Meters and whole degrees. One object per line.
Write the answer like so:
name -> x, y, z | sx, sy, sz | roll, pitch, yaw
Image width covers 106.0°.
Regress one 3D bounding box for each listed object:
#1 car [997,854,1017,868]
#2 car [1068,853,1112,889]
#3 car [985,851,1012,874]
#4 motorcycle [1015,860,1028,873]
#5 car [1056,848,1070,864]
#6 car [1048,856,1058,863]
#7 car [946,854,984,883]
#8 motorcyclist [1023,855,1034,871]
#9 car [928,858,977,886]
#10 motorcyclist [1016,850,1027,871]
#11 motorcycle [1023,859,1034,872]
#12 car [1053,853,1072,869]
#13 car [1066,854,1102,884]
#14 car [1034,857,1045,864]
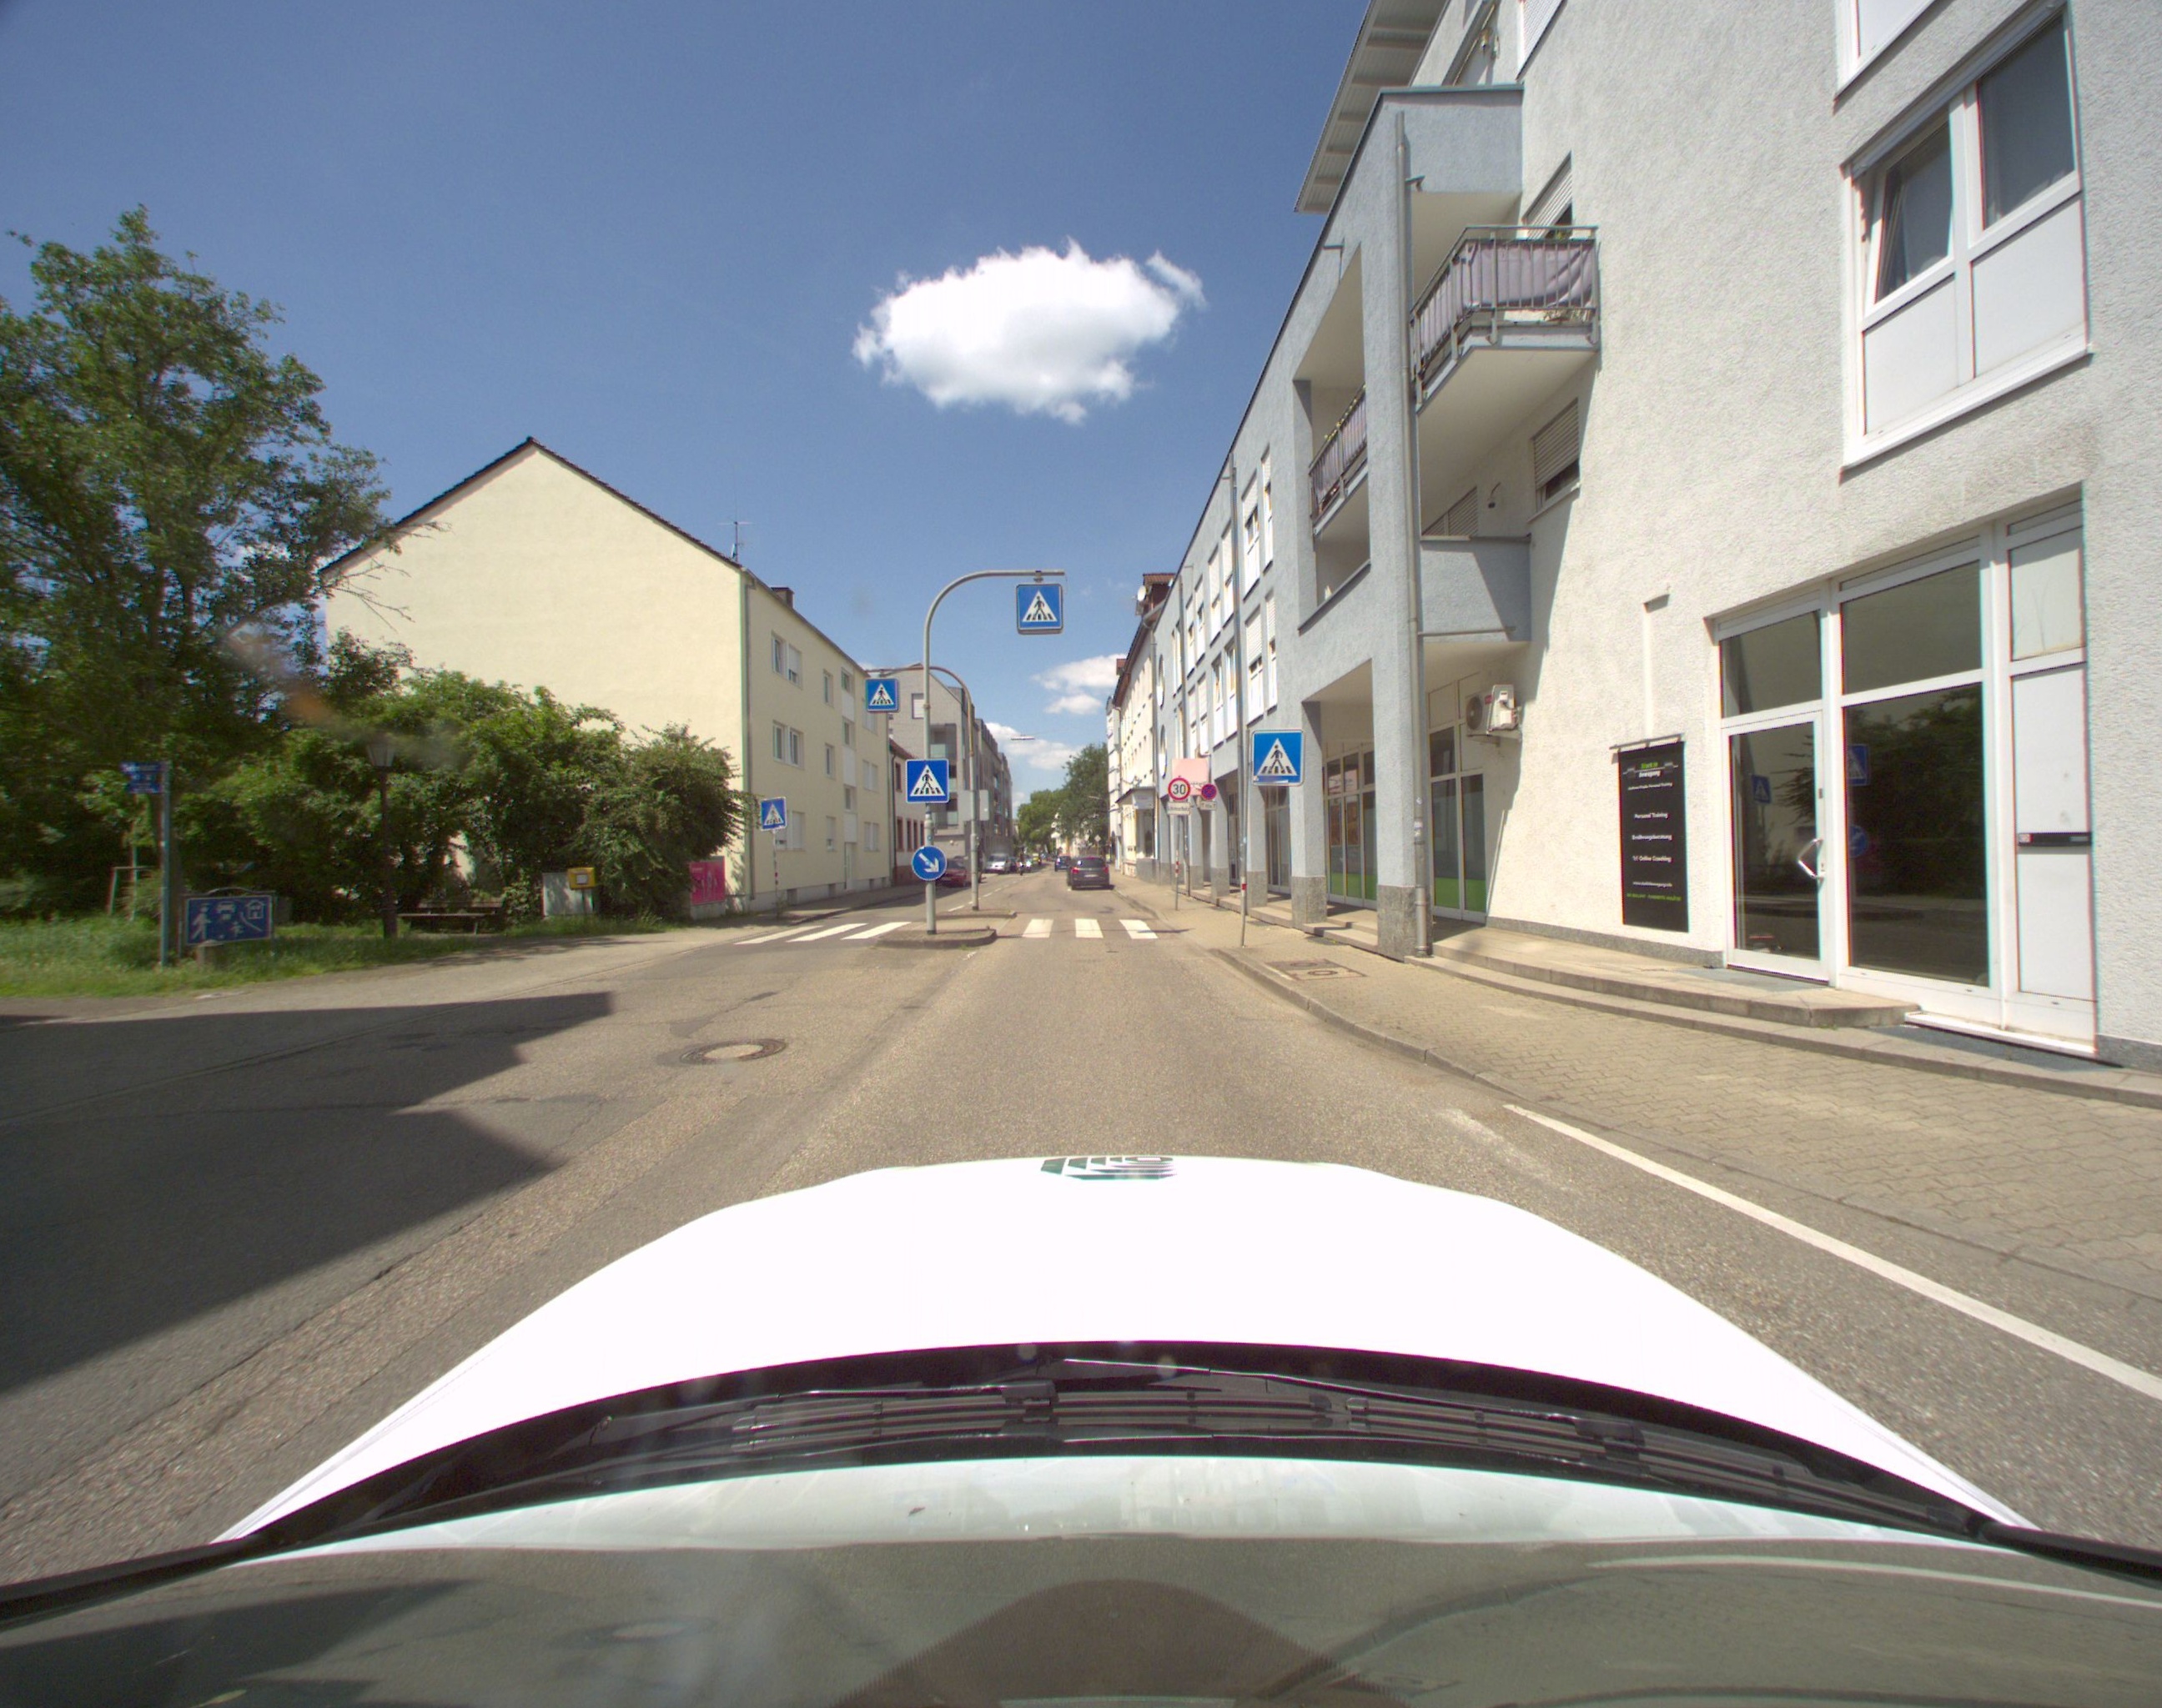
car -> -7.642, 0.723, 84.484 | 1.717, 1.456, 4.004 | 0, 0, 0
car -> 0.334, 0.741, 36.717 | 1.706, 1.508, 3.995 | -1, 0, -3
car -> -7.231, 0.723, 71.590 | 1.750, 1.892, 4.339 | 1, 0, 3
motorcycle -> -4.784, 0.993, 65.516 | 0.710, 1.028, 2.241 | -2, 0, 2
car -> -2.387, 0.285, 109.942 | 1.833, 2.013, 3.998 | -1, 0, -1
car -> -6.308, 1.245, 184.746 | 1.991, 1.618, 3.990 | -1, 0, -7
car -> -6.913, 0.860, 48.873 | 1.789, 1.646, 3.944 | 0, 0, -1
motorcyclist -> -4.940, 0.801, 76.206 | 0.913, 1.480, 1.202 | -1, 0, -1
car -> -6.846, 0.937, 43.887 | 1.827, 1.417, 4.290 | -1, 0, 1
motorcyclist -> -4.787, 0.489, 65.523 | 0.710, 1.634, 1.069 | -2, 0, 2
motorcycle -> -4.939, 1.092, 76.229 | 0.893, 1.176, 2.207 | -1, 0, -1
car -> -1.703, 0.640, 76.221 | 1.710, 1.402, 3.998 | -2, 0, -1
car -> 0.112, 0.747, 42.310 | 1.724, 1.420, 4.542 | -1, 0, -1
car -> -8.927, 1.321, 175.066 | 1.987, 1.381, 4.393 | 1, 0, 1
